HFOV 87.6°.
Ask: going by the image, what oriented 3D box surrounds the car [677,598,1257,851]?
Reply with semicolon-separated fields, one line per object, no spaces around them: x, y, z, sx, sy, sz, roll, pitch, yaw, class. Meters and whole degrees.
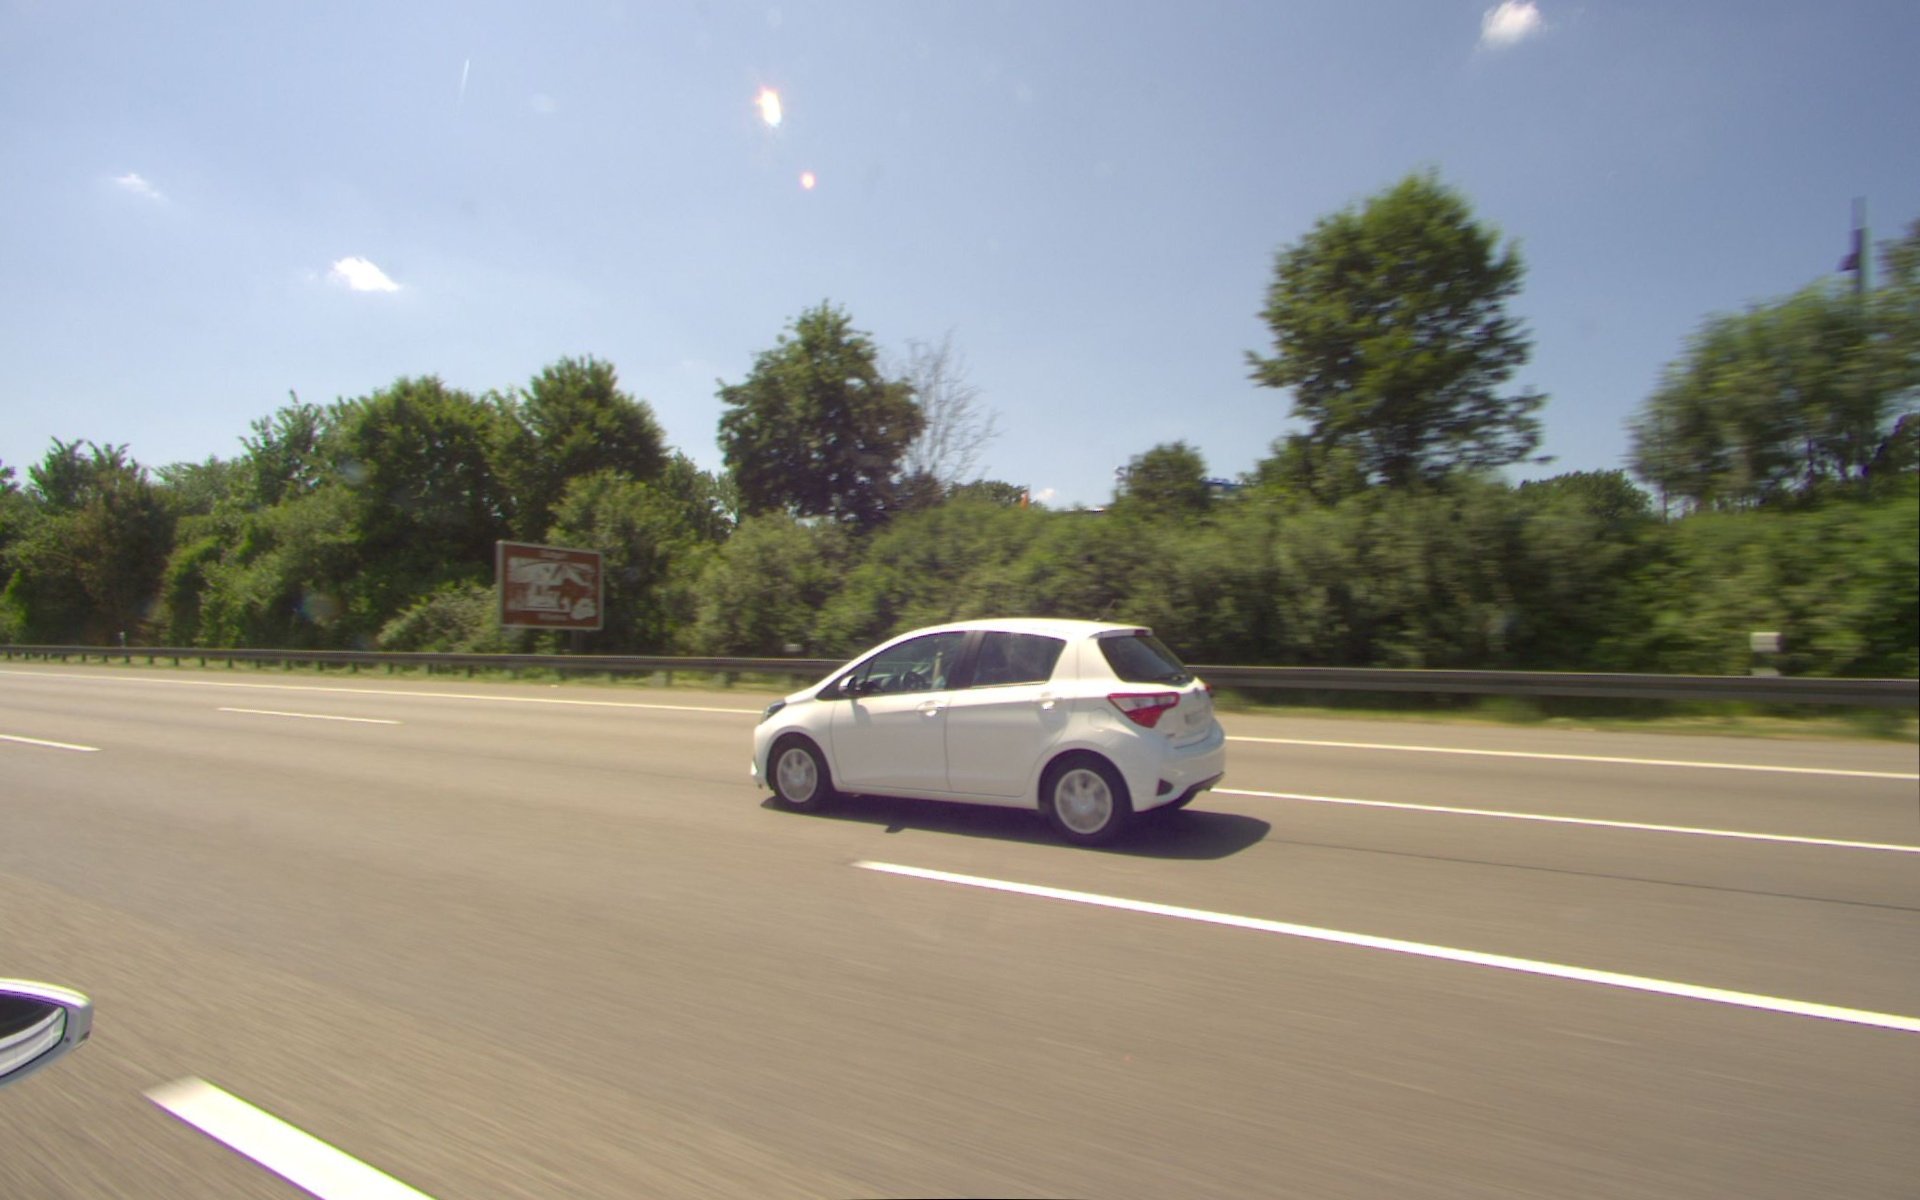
-0.072;0.830;8.033;4.420;1.538;1.747;-1;-2;32;car
